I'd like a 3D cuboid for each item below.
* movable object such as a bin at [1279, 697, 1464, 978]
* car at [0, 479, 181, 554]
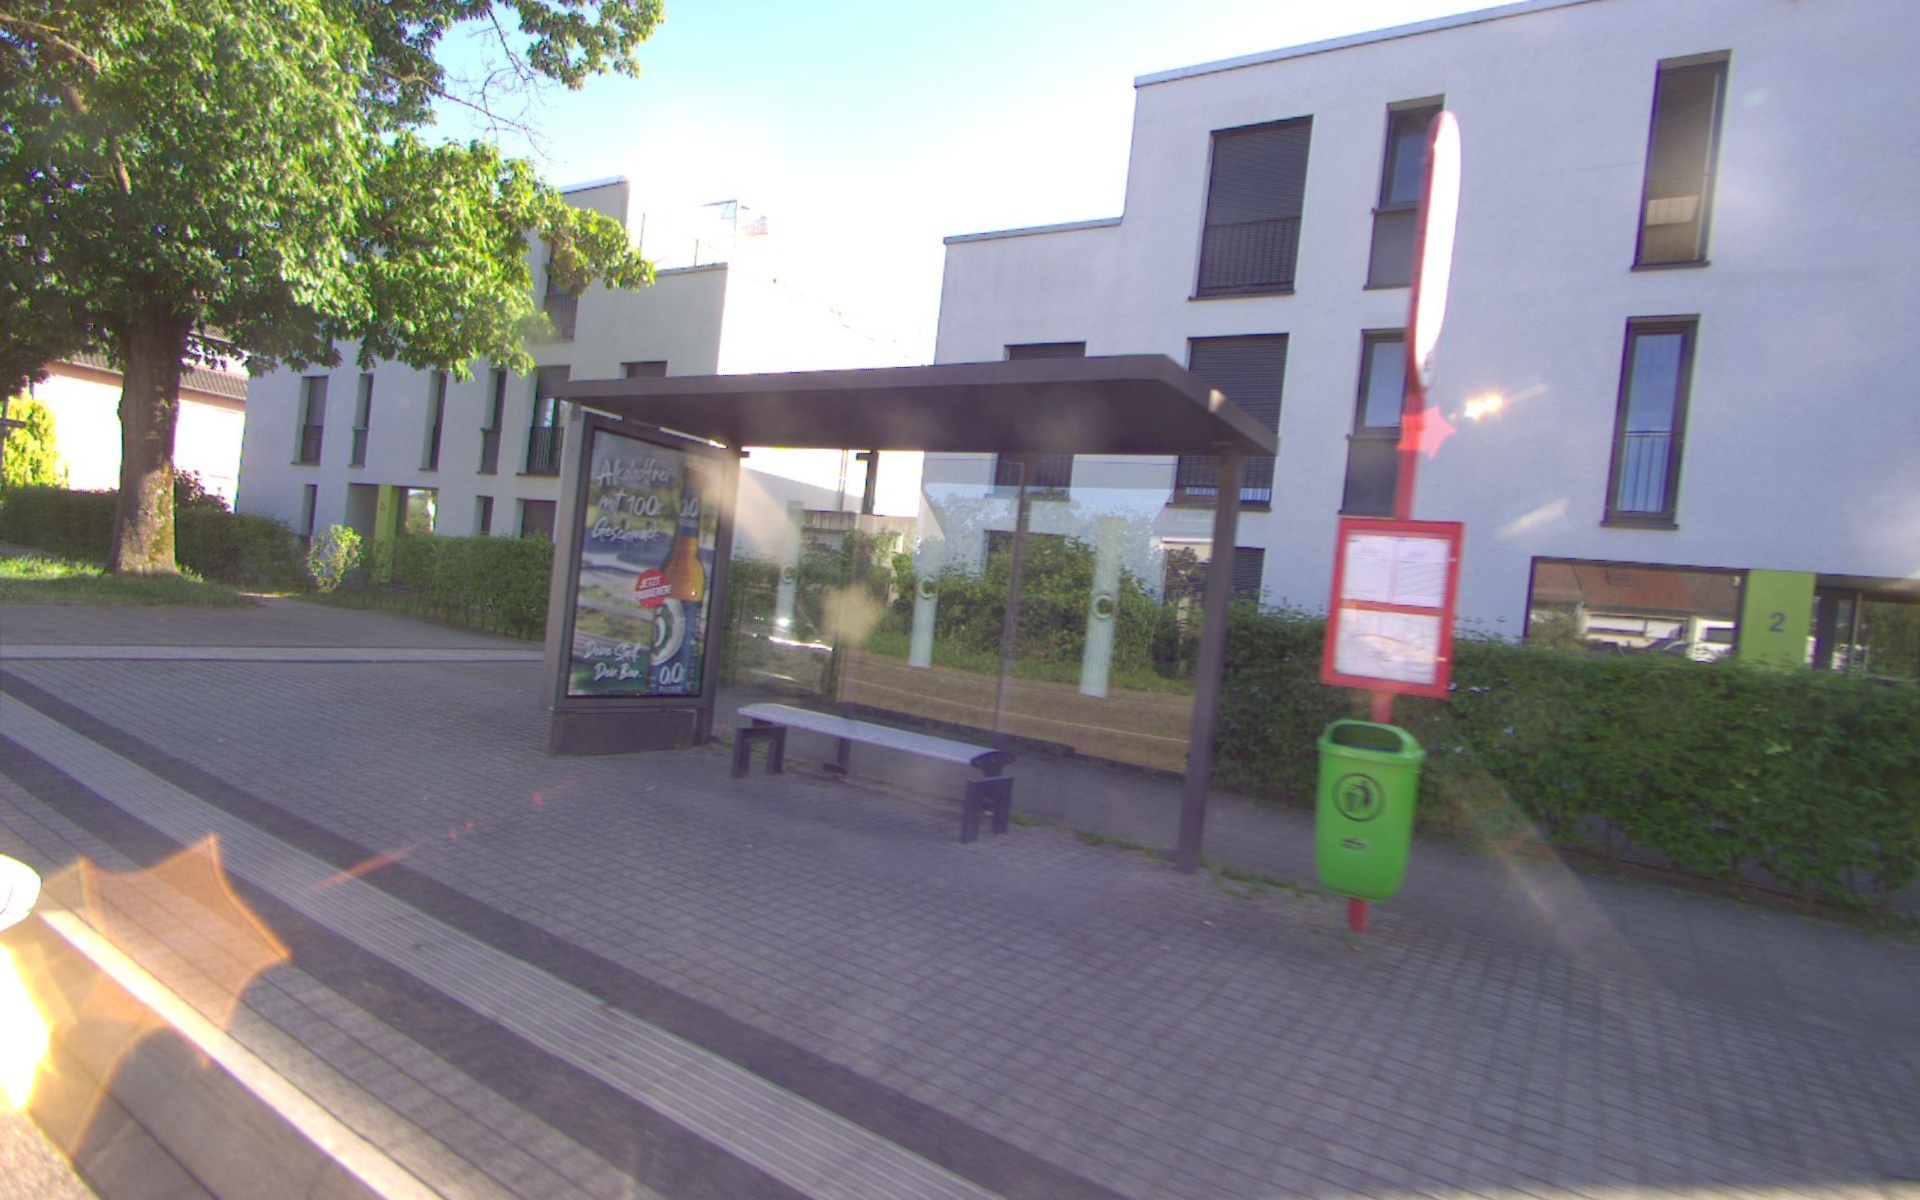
[{"bbox_3d":[1.744,0.972,4.282,0.589,1.029,0.369,7,1,24],"label":"movable object such as a bin"},{"bbox_3d":[-30.155,-2.818,34.260,2.037,1.870,5.248,5,-1,30],"label":"car"}]
